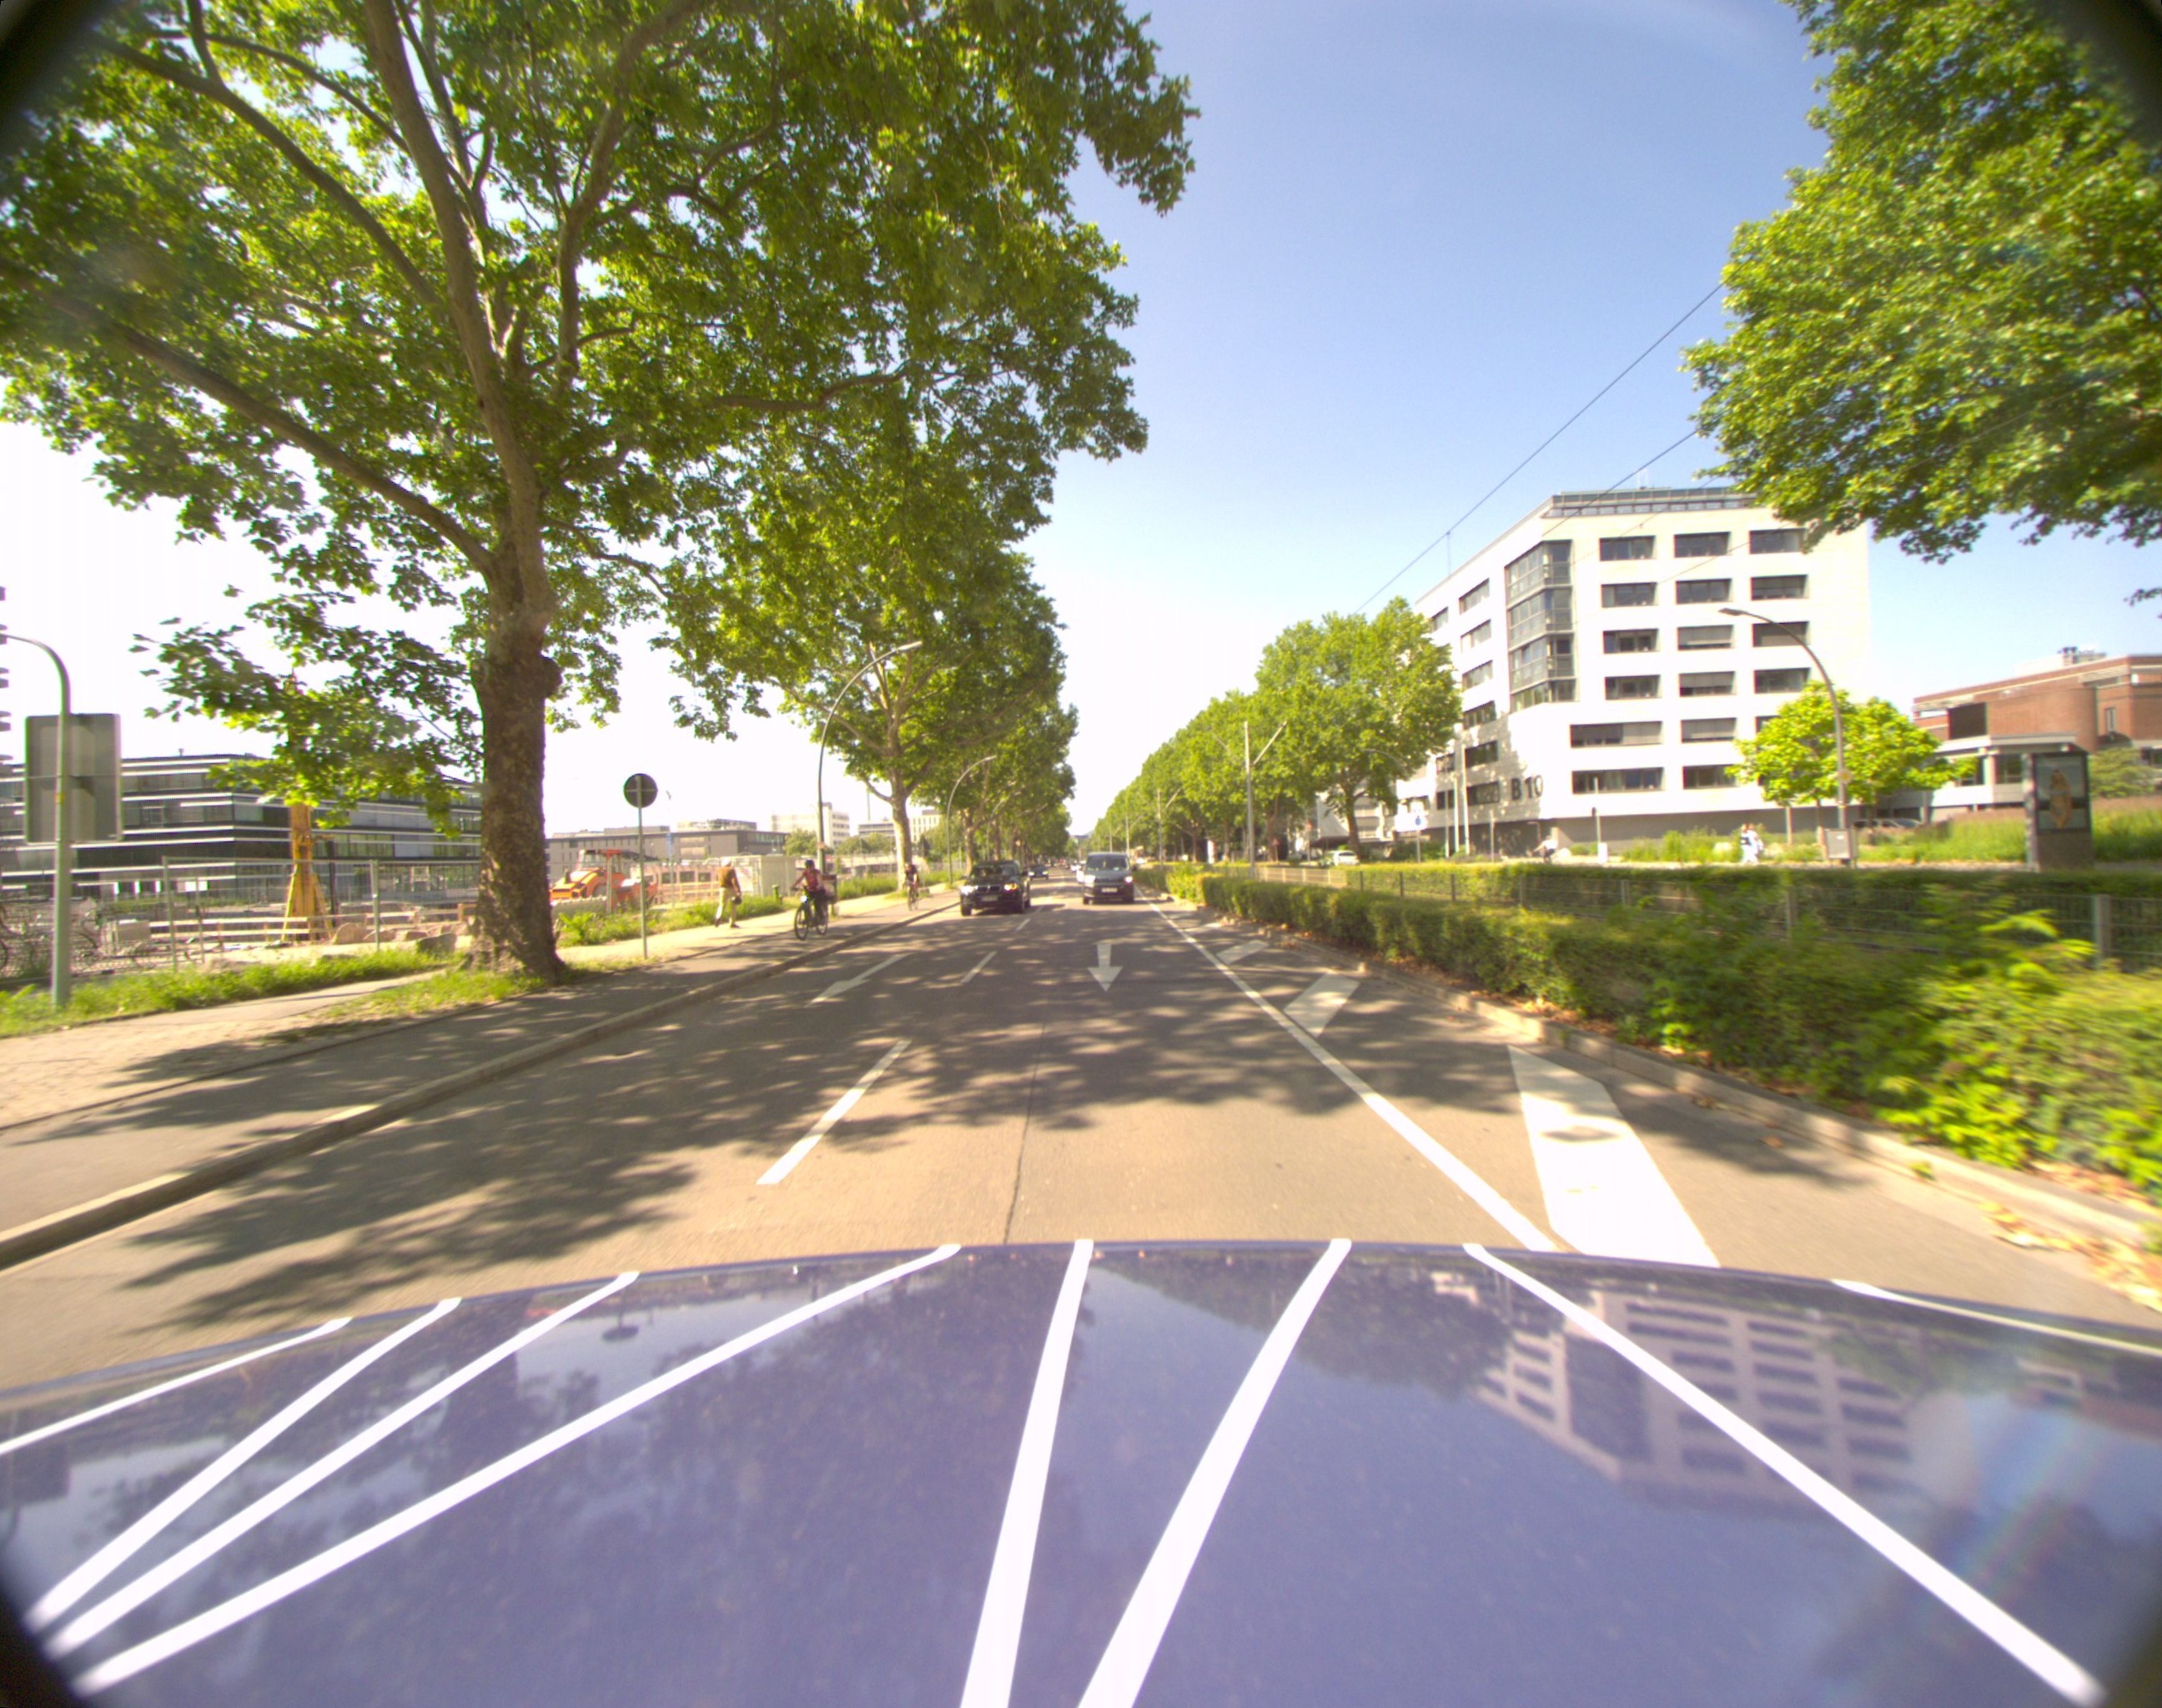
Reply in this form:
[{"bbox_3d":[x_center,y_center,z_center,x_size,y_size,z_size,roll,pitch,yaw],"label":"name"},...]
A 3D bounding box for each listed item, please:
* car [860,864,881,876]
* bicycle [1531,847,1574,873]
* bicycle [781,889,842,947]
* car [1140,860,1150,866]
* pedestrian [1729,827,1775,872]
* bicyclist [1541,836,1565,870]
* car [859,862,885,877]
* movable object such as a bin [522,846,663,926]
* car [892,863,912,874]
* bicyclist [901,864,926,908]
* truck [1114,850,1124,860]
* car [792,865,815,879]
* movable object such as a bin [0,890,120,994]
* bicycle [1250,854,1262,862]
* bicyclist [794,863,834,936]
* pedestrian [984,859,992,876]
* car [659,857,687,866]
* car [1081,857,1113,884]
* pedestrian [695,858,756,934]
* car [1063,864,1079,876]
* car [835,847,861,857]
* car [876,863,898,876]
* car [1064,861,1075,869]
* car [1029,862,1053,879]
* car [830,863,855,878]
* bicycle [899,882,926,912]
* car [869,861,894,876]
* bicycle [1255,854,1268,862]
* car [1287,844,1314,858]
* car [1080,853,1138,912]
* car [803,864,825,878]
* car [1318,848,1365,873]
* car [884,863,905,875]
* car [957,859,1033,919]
[{"bbox_3d":[-45.372,3.420,163.754,3.998,2.308,1.808,-3,0,-3],"label":"car"},{"bbox_3d":[21.525,0.268,34.753,0.666,1.117,2.031,-3,0,1],"label":"bicycle"},{"bbox_3d":[-5.909,1.372,16.768,0.653,1.123,1.945,-1,0,-1],"label":"bicycle"},{"bbox_3d":[14.344,2.001,171.693,1.820,1.481,3.912,-1,0,-2],"label":"car"},{"bbox_3d":[24.635,-0.170,27.904,0.722,1.579,1.015,-3,0,0],"label":"pedestrian"},{"bbox_3d":[21.510,-0.039,34.627,0.656,1.526,0.641,-3,0,1],"label":"bicyclist"},{"bbox_3d":[-39.378,2.894,143.131,4.376,2.722,1.808,-3,0,-3],"label":"car"},{"bbox_3d":[-21.089,1.307,33.228,2.376,3.053,5.984,-3,0,-3],"label":"movable object such as a bin"},{"bbox_3d":[-40.136,3.236,170.842,3.998,2.308,1.808,-3,0,-3],"label":"car"},{"bbox_3d":[-5.849,1.106,26.578,0.600,1.480,1.215,0,0,-2],"label":"bicyclist"},{"bbox_3d":[12.911,0.280,255.919,2.752,3.259,6.540,-3,0,-2],"label":"truck"},{"bbox_3d":[-57.067,3.657,156.286,3.998,2.722,1.808,-3,0,-3],"label":"car"},{"bbox_3d":[-60.356,4.917,39.758,6.739,5.146,11.798,-3,0,43],"label":"movable object such as a bin"},{"bbox_3d":[26.436,0.573,114.717,1.770,1.096,0.422,-3,0,-2],"label":"bicycle"},{"bbox_3d":[-5.930,0.989,16.885,0.621,1.590,0.732,-1,0,-2],"label":"bicyclist"},{"bbox_3d":[-10.000,1.455,81.516,0.712,1.714,1.066,-3,0,-2],"label":"pedestrian"},{"bbox_3d":[-72.840,1.304,135.586,3.998,1.500,1.808,-3,0,-3],"label":"car"},{"bbox_3d":[1.005,1.050,49.328,1.924,1.543,4.151,-3,0,0],"label":"car"},{"bbox_3d":[-9.264,1.076,19.829,0.941,1.881,1.151,-3,0,0],"label":"pedestrian"},{"bbox_3d":[-1.301,2.089,101.727,1.854,1.418,4.152,-3,0,1],"label":"car"},{"bbox_3d":[-41.841,-0.387,136.522,3.998,1.500,1.808,-3,0,-3],"label":"car"},{"bbox_3d":[-39.789,3.156,155.914,3.998,2.308,1.808,-3,0,-3],"label":"car"},{"bbox_3d":[-2.252,2.148,144.575,1.854,1.418,4.152,-3,0,1],"label":"car"},{"bbox_3d":[-3.693,1.533,71.202,1.854,1.418,4.152,-3,0,1],"label":"car"},{"bbox_3d":[-44.942,3.104,143.041,3.998,2.722,1.808,-3,0,-3],"label":"car"},{"bbox_3d":[-5.850,1.486,26.488,0.599,0.974,1.781,0,0,-2],"label":"bicycle"},{"bbox_3d":[-39.419,2.927,150.164,4.376,2.722,1.808,-3,0,-3],"label":"car"},{"bbox_3d":[26.648,0.554,112.341,1.770,1.096,0.422,-3,0,-2],"label":"bicycle"},{"bbox_3d":[26.690,-0.357,92.525,1.747,1.540,4.348,-3,0,-2],"label":"car"},{"bbox_3d":[0.929,0.927,26.321,1.789,1.839,4.000,-2,0,1],"label":"car"},{"bbox_3d":[-57.258,3.695,163.214,3.998,2.722,1.808,-3,0,-3],"label":"car"},{"bbox_3d":[17.655,0.421,51.744,1.761,1.560,4.019,-3,0,0],"label":"car"},{"bbox_3d":[-40.204,3.208,163.948,3.998,2.308,1.808,-3,0,-3],"label":"car"},{"bbox_3d":[-2.747,1.071,25.133,1.924,1.720,4.151,-3,0,0],"label":"car"}]
